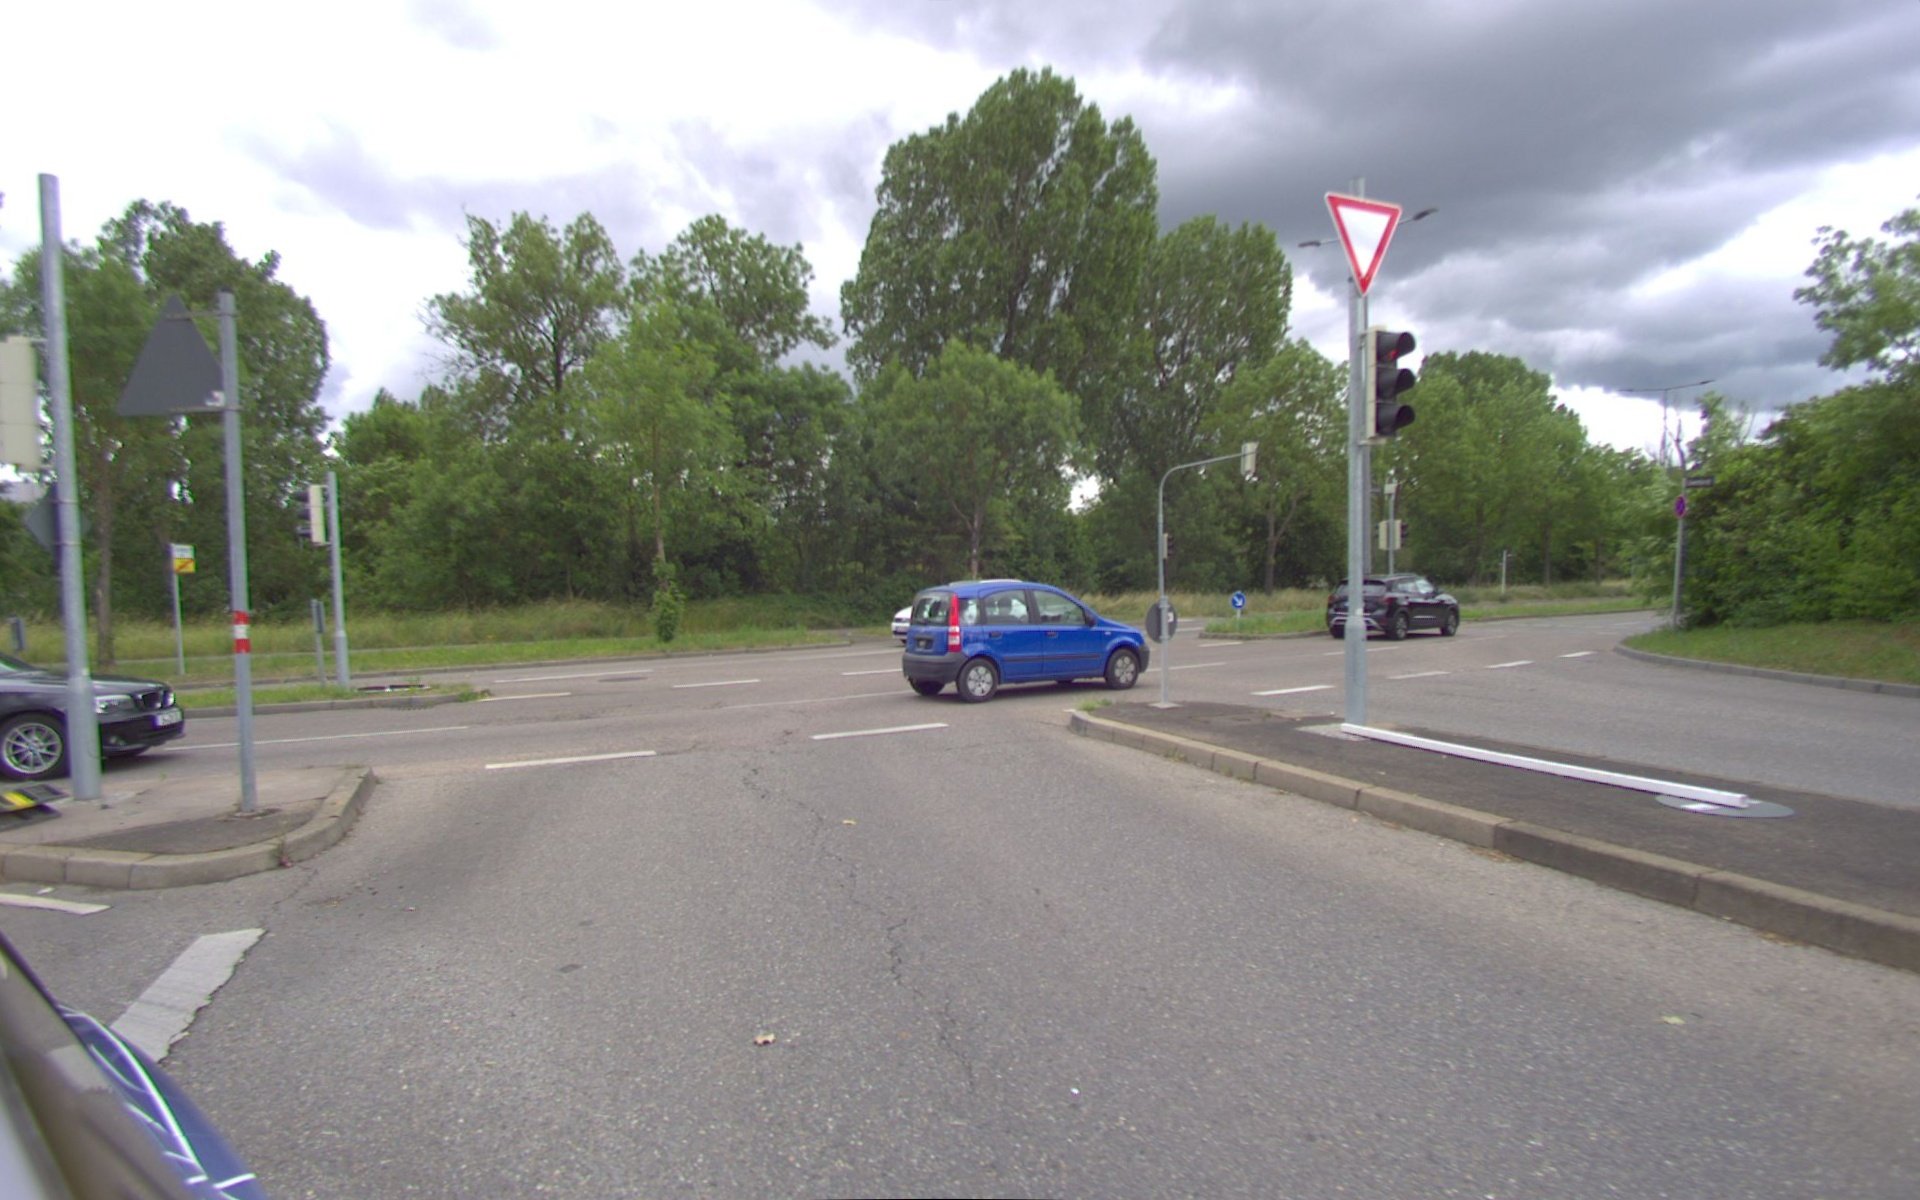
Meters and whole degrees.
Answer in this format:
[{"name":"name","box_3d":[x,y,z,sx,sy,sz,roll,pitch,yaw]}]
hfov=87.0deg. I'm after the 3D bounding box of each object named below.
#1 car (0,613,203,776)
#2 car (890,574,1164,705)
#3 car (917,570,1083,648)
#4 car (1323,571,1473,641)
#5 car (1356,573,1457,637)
[{"name":"car","box_3d":[-9.675,0.898,9.310,4.015,1.378,1.573,-2,0,-15]},{"name":"car","box_3d":[0.918,0.464,13.673,3.322,1.518,1.553,-2,0,-28]},{"name":"car","box_3d":[1.164,0.177,28.543,4.253,1.772,2.088,-5,5,-36]},{"name":"car","box_3d":[10.717,0.125,24.707,3.708,1.519,1.665,-2,0,-36]},{"name":"car","box_3d":[16.926,0.118,38.265,4.258,2.008,1.938,-6,5,-42]}]
